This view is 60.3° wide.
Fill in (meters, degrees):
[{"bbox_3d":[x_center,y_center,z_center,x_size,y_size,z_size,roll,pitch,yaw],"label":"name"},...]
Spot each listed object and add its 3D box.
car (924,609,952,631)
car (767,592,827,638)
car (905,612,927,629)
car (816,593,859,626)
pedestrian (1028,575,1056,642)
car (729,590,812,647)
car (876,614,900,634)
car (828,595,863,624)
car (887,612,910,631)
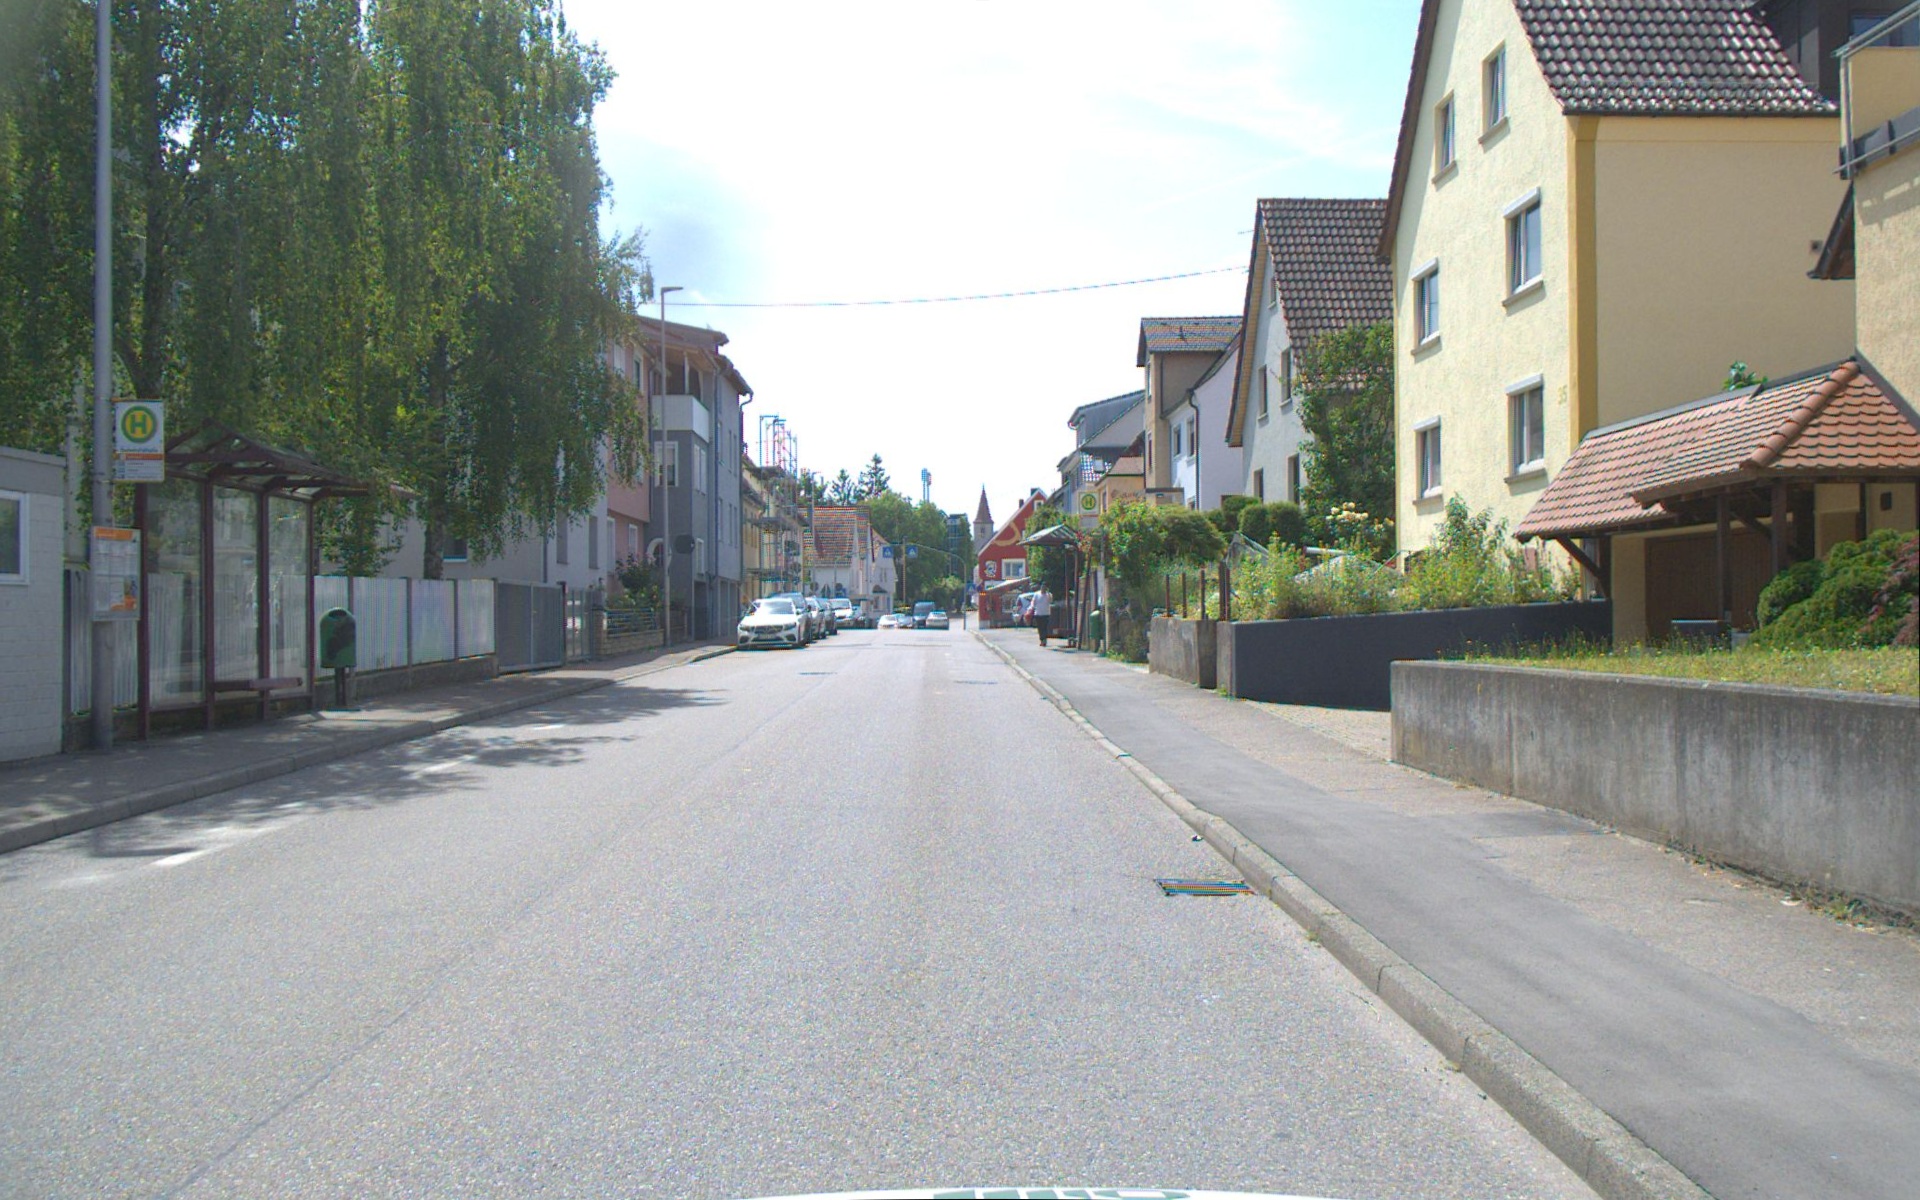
[{"bbox_3d":[-1.705,1.522,127.476,1.954,1.588,4.310,-1,0,-4],"label":"car"},{"bbox_3d":[-5.922,0.516,60.522,1.954,1.588,4.311,-1,0,-3],"label":"car"},{"bbox_3d":[-4.140,1.919,157.419,1.802,1.489,4.001,-1,0,3],"label":"car"},{"bbox_3d":[-6.250,0.470,84.861,1.953,1.588,4.312,-1,0,-2],"label":"car"},{"bbox_3d":[2.208,0.219,44.577,0.633,1.760,0.608,-3,0,-1],"label":"pedestrian"},{"bbox_3d":[-5.586,0.506,49.237,2.068,1.588,4.312,-1,0,-1],"label":"car"},{"bbox_3d":[-5.673,1.868,131.002,1.803,1.489,3.999,-1,0,-1],"label":"car"},{"bbox_3d":[-6.785,0.544,98.111,1.954,1.588,4.311,-1,0,-3],"label":"car"},{"bbox_3d":[-5.254,1.831,141.726,1.802,1.489,4.000,-1,0,1],"label":"car"}]
